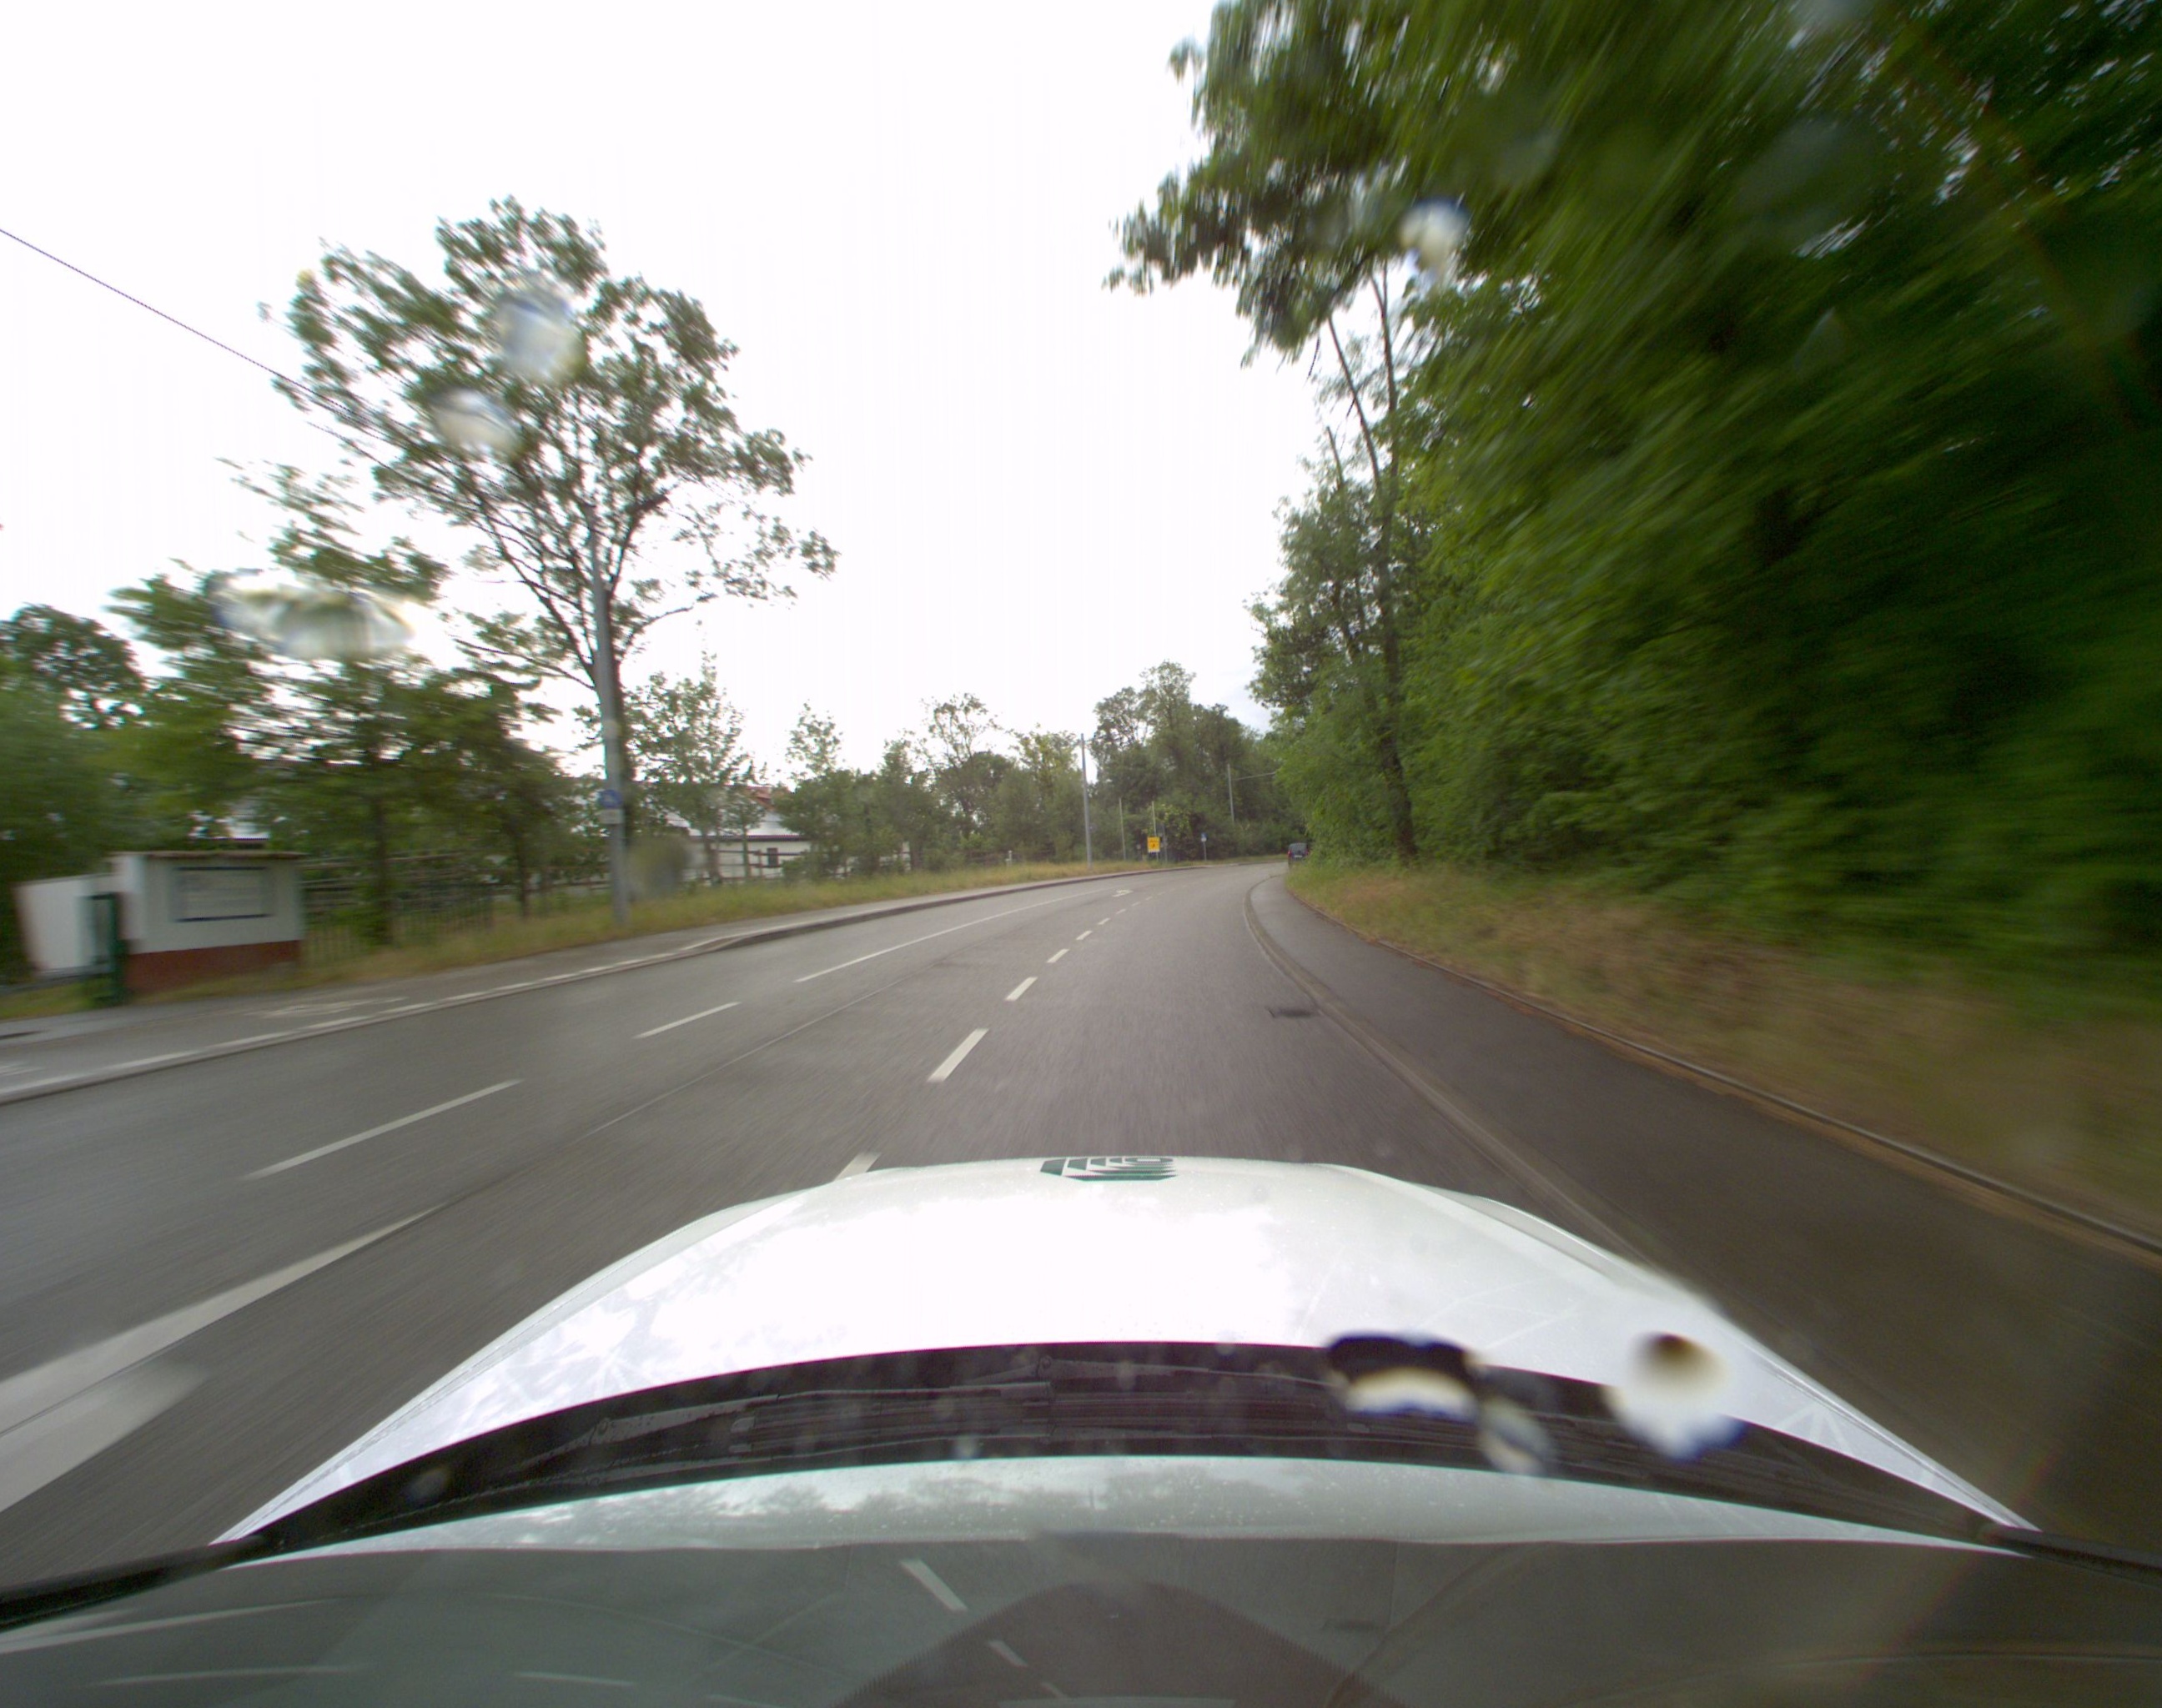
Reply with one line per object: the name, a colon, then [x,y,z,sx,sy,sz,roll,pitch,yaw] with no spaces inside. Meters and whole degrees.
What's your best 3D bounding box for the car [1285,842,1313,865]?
car: [16.357,-0.042,61.018,1.653,1.593,3.702,-1,0,21]
